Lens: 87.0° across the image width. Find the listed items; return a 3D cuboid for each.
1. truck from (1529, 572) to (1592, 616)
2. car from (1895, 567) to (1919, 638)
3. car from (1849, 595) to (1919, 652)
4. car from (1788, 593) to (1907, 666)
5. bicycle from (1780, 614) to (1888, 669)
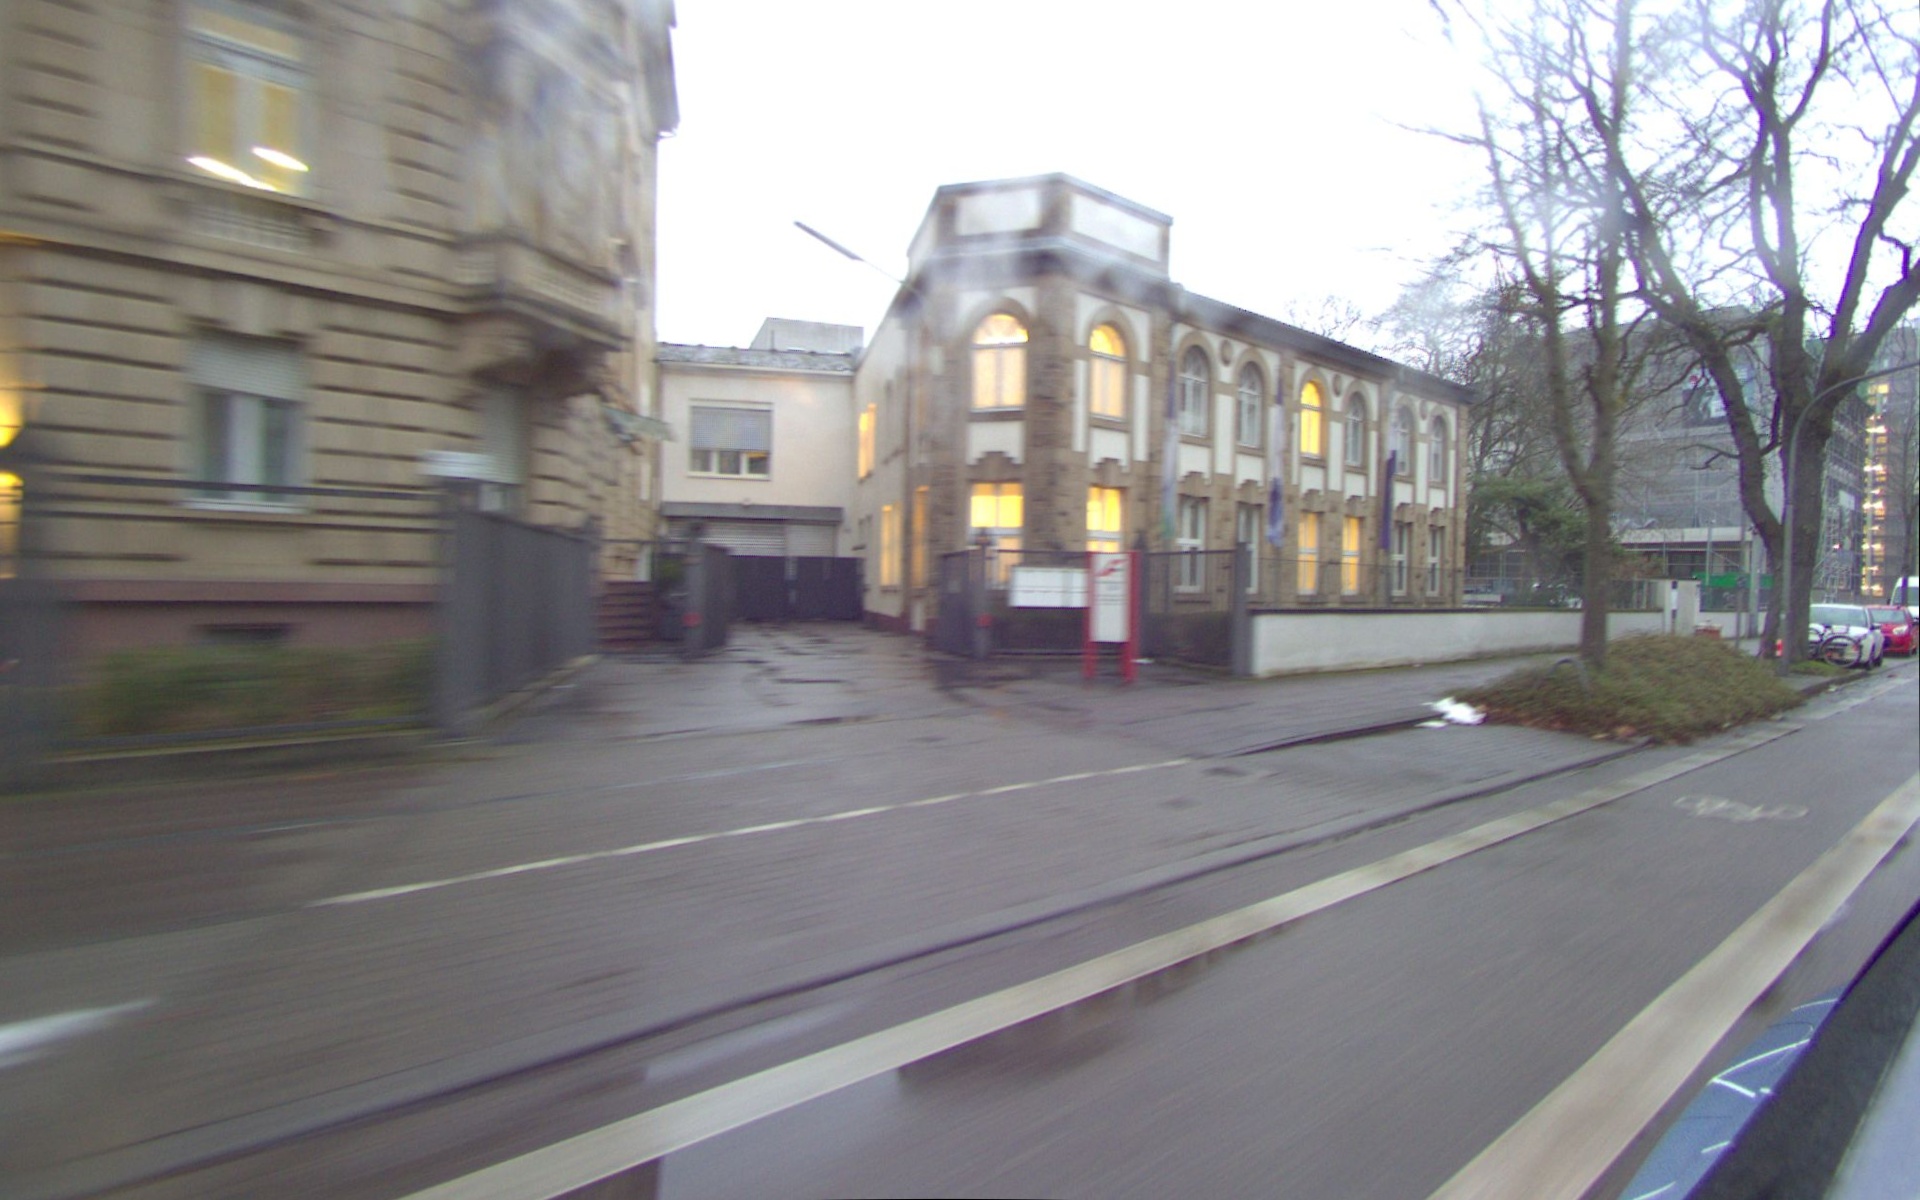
[{"bbox_3d":[38.412,-0.460,64.634,2.125,2.619,6.974,2,3,42],"label":"truck"},{"bbox_3d":[36.278,0.132,37.384,5.347,2.518,2.127,1,1,-43],"label":"car"},{"bbox_3d":[27.546,0.670,29.848,3.512,1.542,1.645,1,0,-43],"label":"car"},{"bbox_3d":[21.104,0.666,24.025,3.574,1.538,1.694,1,1,-42],"label":"car"},{"bbox_3d":[19.348,0.894,22.426,0.651,1.084,1.716,1,1,-40],"label":"bicycle"}]
